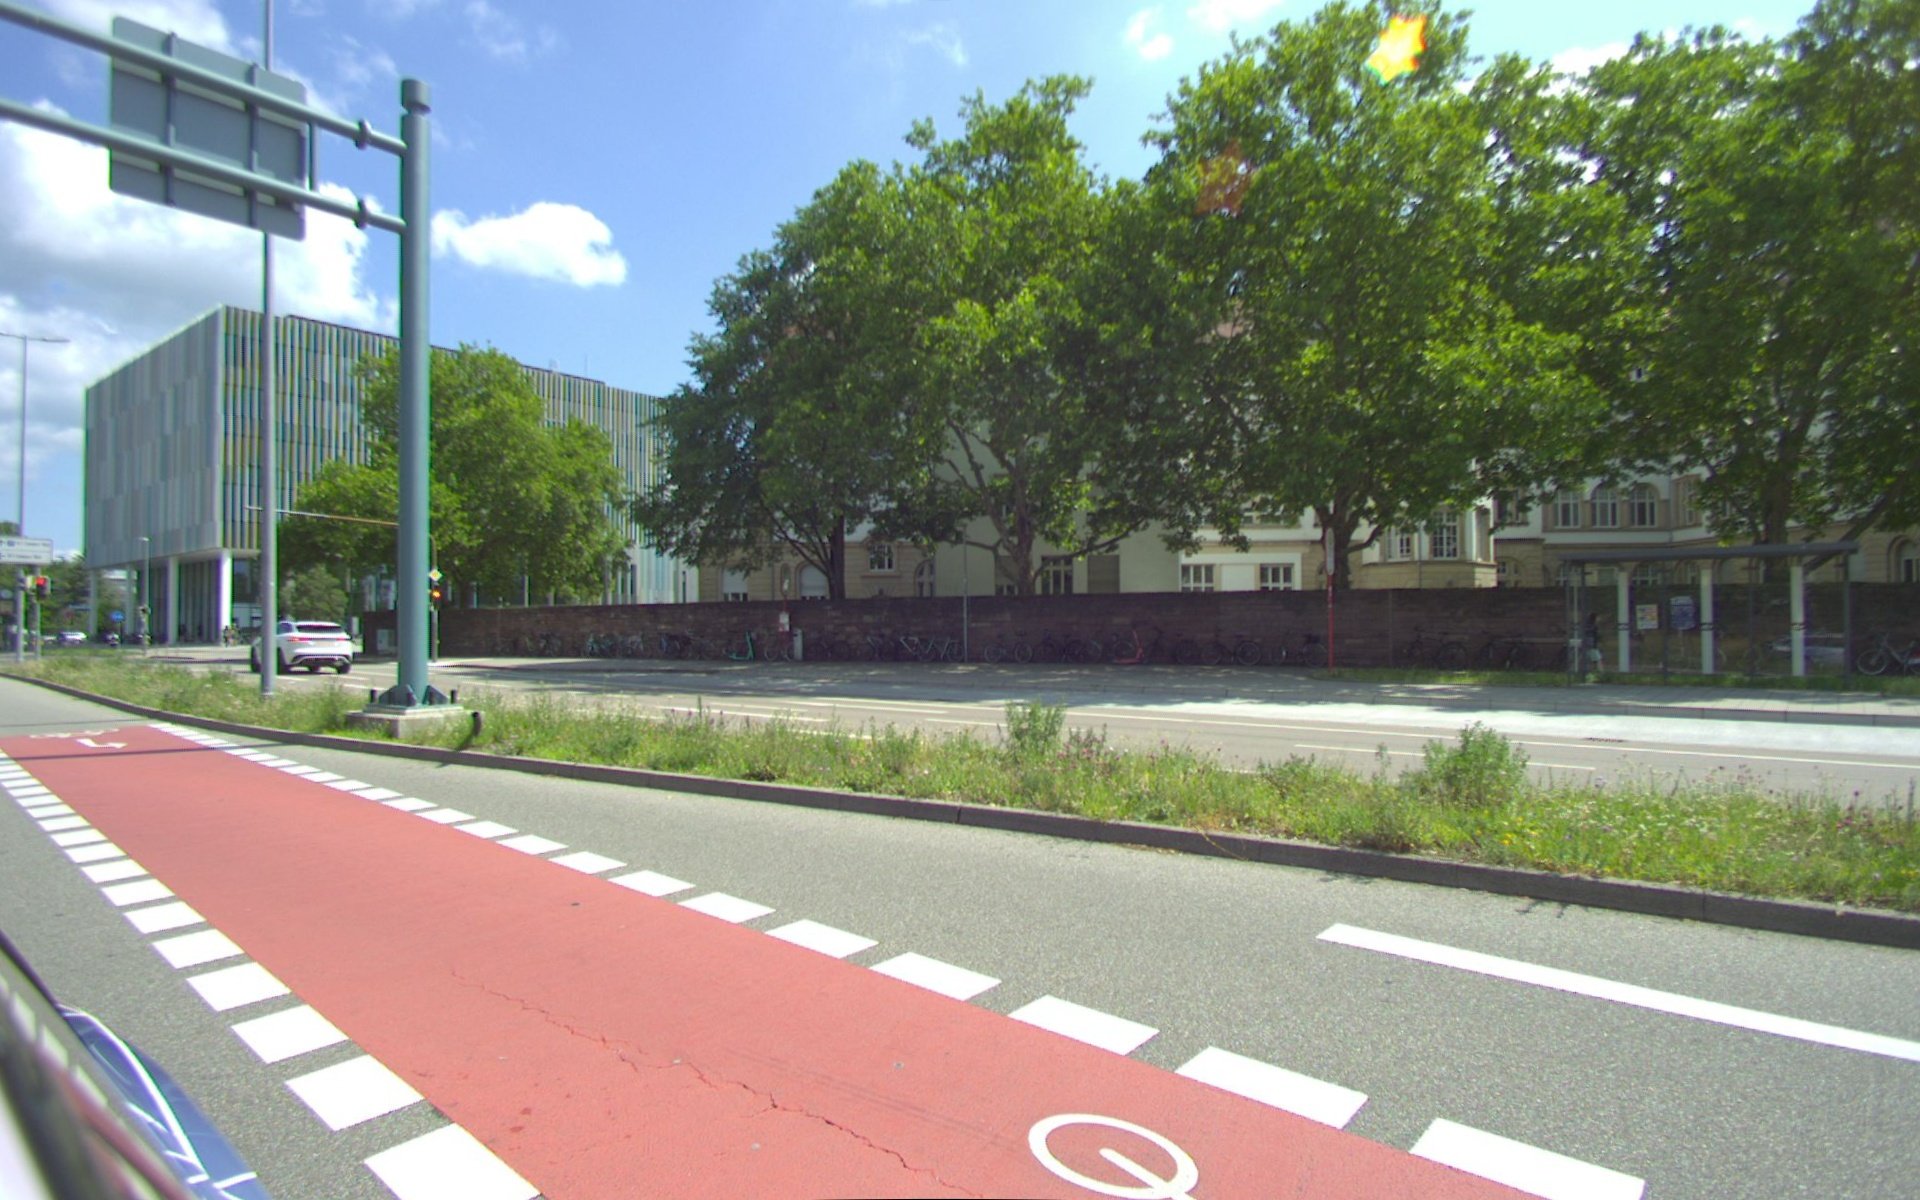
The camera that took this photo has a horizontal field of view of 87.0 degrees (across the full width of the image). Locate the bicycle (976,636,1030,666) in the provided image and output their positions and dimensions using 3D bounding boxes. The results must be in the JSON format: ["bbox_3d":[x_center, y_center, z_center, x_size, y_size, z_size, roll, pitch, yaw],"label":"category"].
[{"bbox_3d":[1.382,1.635,32.458,1.658,0.956,0.540,-2,-2,29],"label":"bicycle"}]

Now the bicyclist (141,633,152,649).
[{"bbox_3d":[-62.104,3.139,77.273,0.609,1.235,0.835,1,-2,-43],"label":"bicyclist"}]

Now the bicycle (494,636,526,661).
[{"bbox_3d":[-20.568,2.214,46.244,1.589,1.107,0.567,-2,-2,33],"label":"bicycle"}]

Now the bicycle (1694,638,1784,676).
[{"bbox_3d":[19.300,1.400,25.111,1.653,0.909,0.541,-1,-2,21],"label":"bicycle"}]

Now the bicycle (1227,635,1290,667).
[{"bbox_3d":[8.623,1.478,29.239,1.656,0.909,0.540,-1,-2,26],"label":"bicycle"}]

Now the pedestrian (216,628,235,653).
[{"bbox_3d":[-56.871,3.135,78.346,0.955,1.940,0.882,0,-2,-20],"label":"pedestrian"}]

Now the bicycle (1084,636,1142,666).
[{"bbox_3d":[4.689,1.558,31.063,1.658,0.909,0.540,-1,-2,29],"label":"bicycle"}]

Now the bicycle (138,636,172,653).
[{"bbox_3d":[-76.090,4.183,95.710,0.621,1.506,2.420,-2,-2,41],"label":"bicycle"}]

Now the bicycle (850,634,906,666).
[{"bbox_3d":[-2.849,1.726,35.011,1.941,1.055,0.540,-2,-2,29],"label":"bicycle"}]

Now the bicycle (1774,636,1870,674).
[{"bbox_3d":[20.893,1.330,24.566,1.653,0.909,0.541,-1,-2,21],"label":"bicycle"}]

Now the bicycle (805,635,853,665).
[{"bbox_3d":[-4.689,1.777,36.113,1.795,1.016,0.476,-2,-2,32],"label":"bicycle"}]

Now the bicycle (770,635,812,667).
[{"bbox_3d":[-6.169,1.872,36.995,1.587,1.151,0.429,-2,-2,29],"label":"bicycle"}]

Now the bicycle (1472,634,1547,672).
[{"bbox_3d":[14.496,1.394,26.736,1.655,0.959,0.541,-1,-2,24],"label":"bicycle"}]

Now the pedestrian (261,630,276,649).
[{"bbox_3d":[-64.735,3.669,94.746,0.997,1.720,1.214,0,-2,-28],"label":"pedestrian"}]

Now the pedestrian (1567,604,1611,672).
[{"bbox_3d":[15.202,0.910,24.476,0.752,1.629,0.612,-1,-1,20],"label":"pedestrian"}]

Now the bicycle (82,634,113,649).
[{"bbox_3d":[-92.260,4.440,108.299,0.621,1.506,2.479,-2,-2,41],"label":"bicycle"}]

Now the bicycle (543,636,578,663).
[{"bbox_3d":[-17.405,2.152,44.063,1.589,1.161,0.616,-2,-2,33],"label":"bicycle"}]

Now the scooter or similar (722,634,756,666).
[{"bbox_3d":[-8.138,1.841,37.328,1.184,1.161,0.430,-1,-2,20],"label":"scooter or similar"}]

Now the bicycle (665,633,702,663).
[{"bbox_3d":[-10.898,1.889,39.822,1.587,1.161,0.398,-2,-2,30],"label":"bicycle"}]

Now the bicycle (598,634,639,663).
[{"bbox_3d":[-13.983,1.989,41.478,1.576,1.161,0.401,-1,-2,8],"label":"bicycle"}]

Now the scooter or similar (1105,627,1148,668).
[{"bbox_3d":[4.970,1.422,30.166,1.184,1.192,0.430,-1,-2,20],"label":"scooter or similar"}]

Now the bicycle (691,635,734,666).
[{"bbox_3d":[-9.479,1.919,38.743,1.582,1.161,0.530,-1,-2,19],"label":"bicycle"}]

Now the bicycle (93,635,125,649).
[{"bbox_3d":[-89.262,4.395,106.127,0.621,1.506,2.479,-2,-2,41],"label":"bicycle"}]

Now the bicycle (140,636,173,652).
[{"bbox_3d":[-76.670,4.199,96.582,2.473,1.506,0.731,1,-2,-39],"label":"bicycle"}]

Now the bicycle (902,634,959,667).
[{"bbox_3d":[-1.002,1.678,33.862,1.887,1.055,0.540,-2,-2,29],"label":"bicycle"}]

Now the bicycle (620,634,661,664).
[{"bbox_3d":[-12.898,1.976,40.836,1.576,1.161,0.401,-1,-2,8],"label":"bicycle"}]

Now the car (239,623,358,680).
[{"bbox_3d":[-21.238,1.606,32.418,4.774,1.680,2.049,-2,-2,42],"label":"car"}]

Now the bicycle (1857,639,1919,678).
[{"bbox_3d":[22.604,1.389,24.099,1.781,0.909,0.450,-1,-2,21],"label":"bicycle"}]

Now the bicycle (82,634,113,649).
[{"bbox_3d":[-92.722,4.451,108.838,0.621,1.506,2.479,-2,-2,41],"label":"bicycle"}]

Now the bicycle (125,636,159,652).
[{"bbox_3d":[-79.075,4.227,97.886,0.621,1.506,2.479,-2,-2,41],"label":"bicycle"}]

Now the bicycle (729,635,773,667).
[{"bbox_3d":[-7.856,1.904,37.971,1.582,1.161,0.530,-1,-2,19],"label":"bicycle"}]

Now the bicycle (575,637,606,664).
[{"bbox_3d":[-15.767,2.156,43.191,1.591,1.161,0.408,-2,-2,36],"label":"bicycle"}]

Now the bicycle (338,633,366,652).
[{"bbox_3d":[-50.481,3.522,84.104,0.983,1.564,3.423,0,-2,-13],"label":"bicycle"}]

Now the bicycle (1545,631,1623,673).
[{"bbox_3d":[16.023,1.329,26.026,1.614,1.059,0.541,-1,-2,24],"label":"bicycle"}]

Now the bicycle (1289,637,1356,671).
[{"bbox_3d":[10.136,1.498,28.321,1.663,0.909,0.497,-2,-2,38],"label":"bicycle"}]

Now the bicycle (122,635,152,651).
[{"bbox_3d":[-81.325,4.270,100.018,0.621,1.506,2.172,-2,-2,41],"label":"bicycle"}]

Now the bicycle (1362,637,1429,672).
[{"bbox_3d":[11.954,1.491,27.762,1.656,0.909,0.540,-1,-2,26],"label":"bicycle"}]

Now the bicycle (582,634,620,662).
[{"bbox_3d":[-14.985,2.019,42.261,1.581,1.161,0.400,-1,-2,18],"label":"bicycle"}]

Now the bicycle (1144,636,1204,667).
[{"bbox_3d":[6.383,1.537,30.192,1.658,0.909,0.540,-2,-2,29],"label":"bicycle"}]

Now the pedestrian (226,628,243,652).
[{"bbox_3d":[-58.240,3.189,81.242,0.955,1.940,0.882,0,-2,-23],"label":"pedestrian"}]

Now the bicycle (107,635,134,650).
[{"bbox_3d":[-86.271,4.351,103.976,0.621,1.506,2.044,-2,-2,41],"label":"bicycle"}]

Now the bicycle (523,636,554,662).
[{"bbox_3d":[-18.757,2.176,45.021,1.589,1.161,0.495,-2,-2,33],"label":"bicycle"}]

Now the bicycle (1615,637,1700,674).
[{"bbox_3d":[17.686,1.403,25.690,1.653,0.909,0.541,-1,-2,21],"label":"bicycle"}]

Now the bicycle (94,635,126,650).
[{"bbox_3d":[-88.478,4.379,105.332,0.621,1.506,2.479,-2,-2,41],"label":"bicycle"}]

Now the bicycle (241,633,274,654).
[{"bbox_3d":[-58.041,3.560,83.640,0.797,1.656,3.420,0,-2,-8],"label":"bicycle"}]

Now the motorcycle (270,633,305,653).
[{"bbox_3d":[-55.664,3.540,83.852,0.957,1.652,3.301,0,-2,-5],"label":"motorcycle"}]

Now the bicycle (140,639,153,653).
[{"bbox_3d":[-62.194,3.522,77.346,0.637,1.006,2.165,1,-2,-43],"label":"bicycle"}]

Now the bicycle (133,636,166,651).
[{"bbox_3d":[-79.284,4.250,99.033,0.621,1.506,2.479,-2,-2,41],"label":"bicycle"}]

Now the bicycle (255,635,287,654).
[{"bbox_3d":[-56.998,3.646,83.738,0.919,1.505,2.690,0,-1,-4],"label":"bicycle"}]

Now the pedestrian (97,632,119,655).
[{"bbox_3d":[-61.777,3.170,73.362,0.876,1.641,0.962,-1,-2,31],"label":"pedestrian"}]
